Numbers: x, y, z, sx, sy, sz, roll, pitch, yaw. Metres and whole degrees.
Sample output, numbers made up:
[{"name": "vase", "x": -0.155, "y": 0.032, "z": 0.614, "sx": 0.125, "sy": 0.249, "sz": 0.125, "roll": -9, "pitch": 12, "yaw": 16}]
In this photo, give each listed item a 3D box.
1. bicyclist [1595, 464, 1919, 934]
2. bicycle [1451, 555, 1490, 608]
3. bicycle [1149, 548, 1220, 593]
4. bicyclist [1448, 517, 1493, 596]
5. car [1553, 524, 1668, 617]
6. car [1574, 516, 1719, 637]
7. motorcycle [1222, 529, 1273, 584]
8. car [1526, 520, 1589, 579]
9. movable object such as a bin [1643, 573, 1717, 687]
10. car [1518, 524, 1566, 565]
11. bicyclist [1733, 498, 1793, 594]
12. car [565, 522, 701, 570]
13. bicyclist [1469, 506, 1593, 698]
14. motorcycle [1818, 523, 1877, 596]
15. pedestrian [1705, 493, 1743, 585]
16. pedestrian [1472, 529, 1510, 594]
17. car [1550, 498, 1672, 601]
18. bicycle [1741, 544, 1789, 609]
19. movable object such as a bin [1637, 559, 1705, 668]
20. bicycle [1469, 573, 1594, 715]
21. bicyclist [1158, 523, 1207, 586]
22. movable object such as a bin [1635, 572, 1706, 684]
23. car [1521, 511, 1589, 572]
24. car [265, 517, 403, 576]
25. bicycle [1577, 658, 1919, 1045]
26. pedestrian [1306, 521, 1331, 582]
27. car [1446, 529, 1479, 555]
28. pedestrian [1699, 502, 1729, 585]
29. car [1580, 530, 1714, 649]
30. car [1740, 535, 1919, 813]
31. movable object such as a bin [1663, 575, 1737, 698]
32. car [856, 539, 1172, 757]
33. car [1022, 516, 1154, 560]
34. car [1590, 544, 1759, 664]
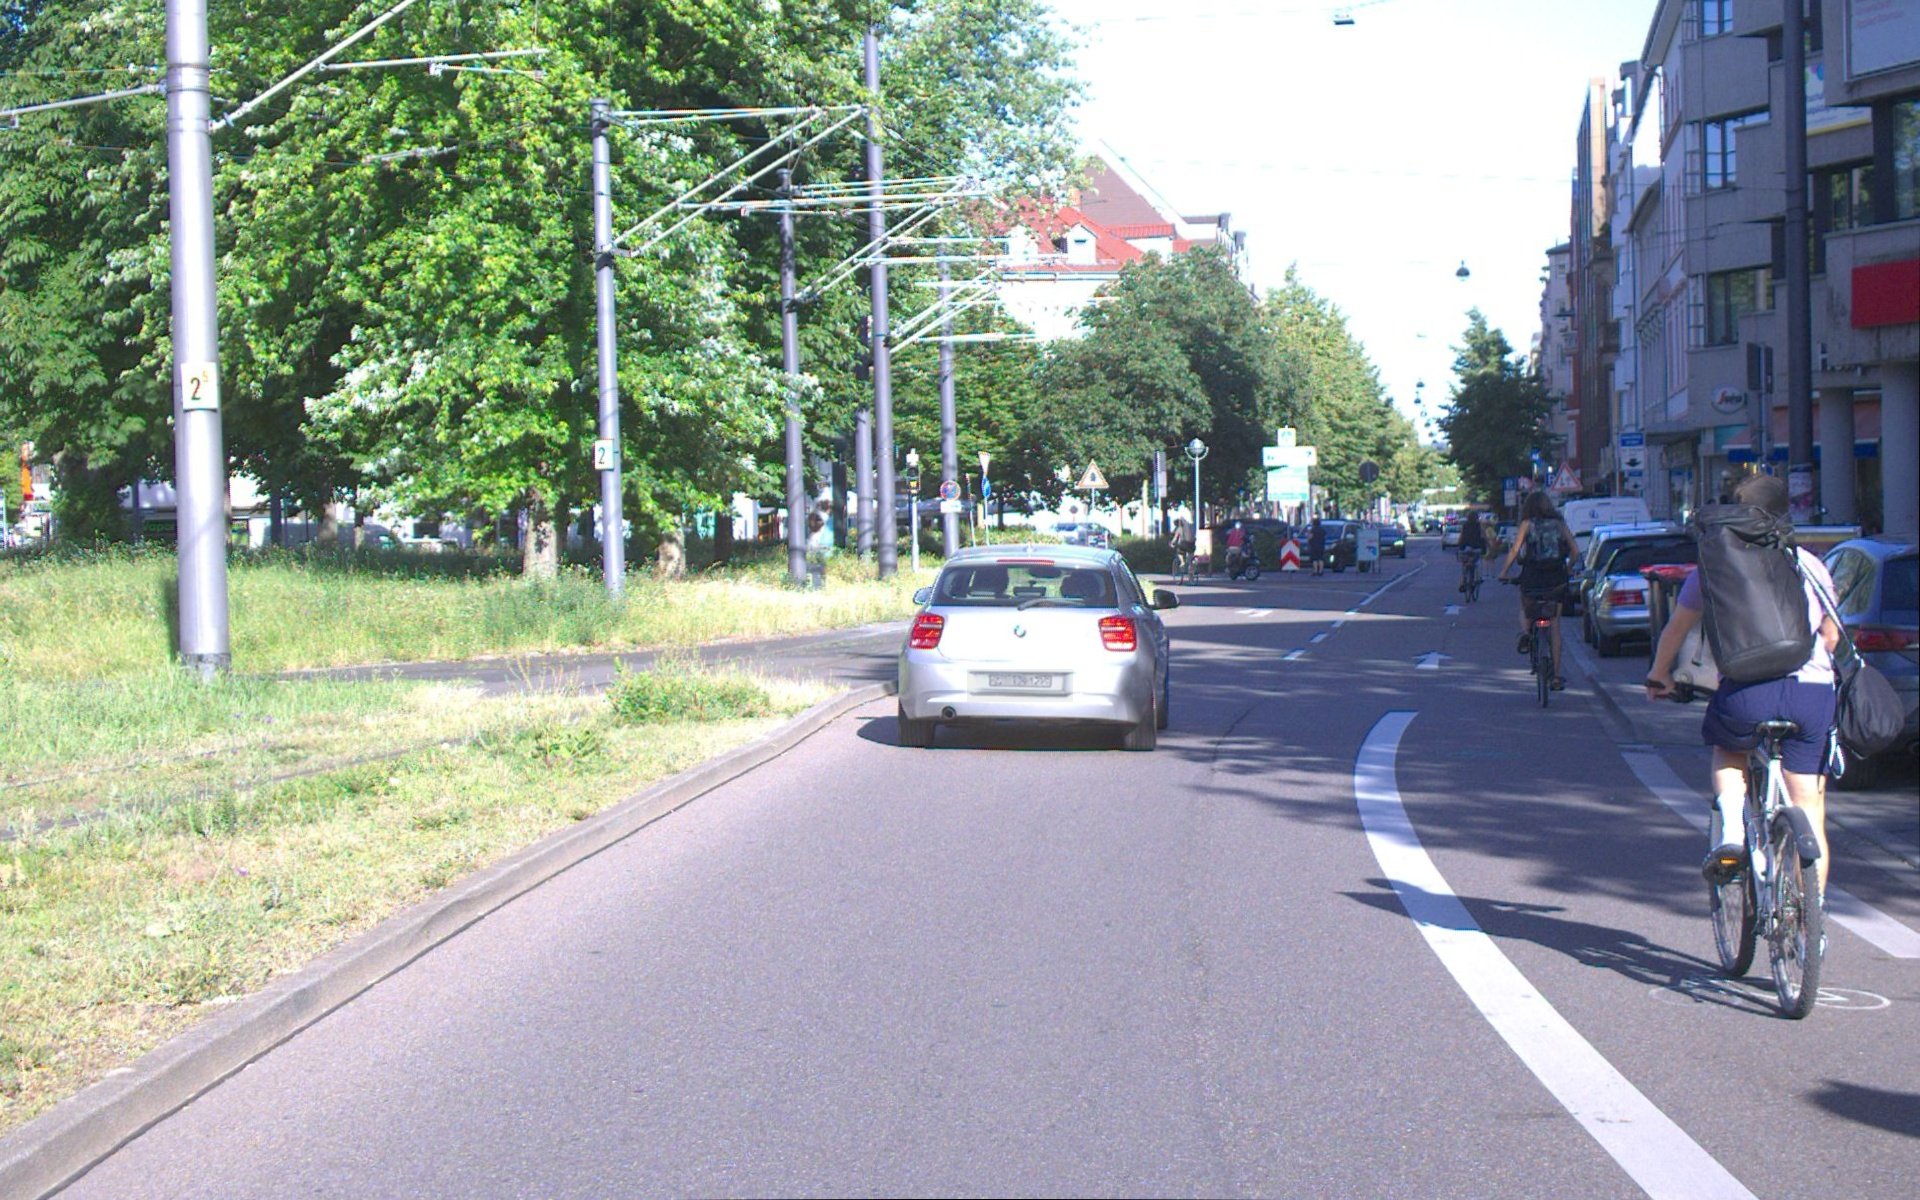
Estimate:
[{"name": "bicyclist", "x": 2.712, "y": 0.311, "z": 11.364, "sx": 1.038, "sy": 1.479, "sz": 0.988, "roll": 1, "pitch": 0, "yaw": 1}, {"name": "bicycle", "x": 9.468, "y": -0.347, "z": 63.784, "sx": 0.652, "sy": 0.955, "sz": 2.697, "roll": 1, "pitch": 0, "yaw": 7}, {"name": "bicycle", "x": 5.447, "y": -0.704, "z": 83.568, "sx": 0.809, "sy": 1.065, "sz": 2.584, "roll": 1, "pitch": 0, "yaw": -18}, {"name": "bicyclist", "x": 9.482, "y": -0.795, "z": 63.847, "sx": 0.786, "sy": 1.448, "sz": 1.095, "roll": 1, "pitch": 0, "yaw": 7}, {"name": "car", "x": 10.682, "y": -0.467, "z": 56.472, "sx": 1.775, "sy": 1.449, "sz": 4.728, "roll": 1, "pitch": 0, "yaw": 11}, {"name": "car", "x": 9.959, "y": -0.335, "z": 50.071, "sx": 1.852, "sy": 1.683, "sz": 3.866, "roll": 1, "pitch": 0, "yaw": 8}, {"name": "motorcycle", "x": 7.321, "y": -1.097, "z": 87.660, "sx": 0.745, "sy": 1.369, "sz": 1.761, "roll": 1, "pitch": 0, "yaw": -15}, {"name": "car", "x": 18.363, "y": -1.542, "z": 105.766, "sx": 1.746, "sy": 1.733, "sz": 4.958, "roll": 1, "pitch": 0, "yaw": 8}, {"name": "movable object such as a bin", "x": 6.816, "y": 0.282, "z": 32.577, "sx": 0.606, "sy": 1.065, "sz": 0.613, "roll": 1, "pitch": 0, "yaw": 5}, {"name": "car", "x": 24.777, "y": -2.337, "z": 146.381, "sx": 1.899, "sy": 1.669, "sz": 4.823, "roll": 1, "pitch": 0, "yaw": 8}, {"name": "bicyclist", "x": 11.233, "y": -0.753, "z": 48.093, "sx": 0.758, "sy": 1.322, "sz": 0.994, "roll": 1, "pitch": 0, "yaw": 10}, {"name": "car", "x": -14.048, "y": -2.310, "z": 147.653, "sx": 5.574, "sy": 2.007, "sz": 1.818, "roll": 0, "pitch": 0, "yaw": -18}, {"name": "bicyclist", "x": 4.934, "y": 0.017, "z": 29.762, "sx": 0.939, "sy": 1.628, "sz": 0.935, "roll": 1, "pitch": 0, "yaw": 2}, {"name": "motorcycle", "x": 14.843, "y": -0.666, "z": 57.458, "sx": 0.764, "sy": 1.151, "sz": 2.045, "roll": -3, "pitch": -1, "yaw": 18}, {"name": "pedestrian", "x": 15.713, "y": -1.240, "z": 70.698, "sx": 0.671, "sy": 1.850, "sz": 0.610, "roll": -3, "pitch": -1, "yaw": 12}, {"name": "pedestrian", "x": 14.104, "y": -1.021, "z": 91.292, "sx": 0.667, "sy": 1.693, "sz": 0.805, "roll": 0, "pitch": 0, "yaw": -23}, {"name": "car", "x": 11.861, "y": -0.905, "z": 62.878, "sx": 1.994, "sy": 1.806, "sz": 4.308, "roll": 1, "pitch": 0, "yaw": 8}, {"name": "bicycle", "x": 11.241, "y": -0.323, "z": 48.032, "sx": 0.534, "sy": 0.888, "sz": 2.069, "roll": 1, "pitch": 0, "yaw": 10}, {"name": "movable object such as a bin", "x": 7.110, "y": 0.134, "z": 34.396, "sx": 0.592, "sy": 1.080, "sz": 0.604, "roll": 1, "pitch": 0, "yaw": 6}, {"name": "bicycle", "x": 4.929, "y": 0.365, "z": 29.758, "sx": 0.819, "sy": 1.181, "sz": 1.964, "roll": 1, "pitch": 0, "yaw": 3}, {"name": "bicyclist", "x": 5.421, "y": -1.105, "z": 83.732, "sx": 0.928, "sy": 1.502, "sz": 0.826, "roll": 1, "pitch": 0, "yaw": -18}, {"name": "movable object such as a bin", "x": 6.861, "y": 0.264, "z": 33.208, "sx": 0.605, "sy": 1.065, "sz": 0.545, "roll": 1, "pitch": 0, "yaw": 5}, {"name": "car", "x": 20.035, "y": -1.974, "z": 115.898, "sx": 1.994, "sy": 1.998, "sz": 5.116, "roll": -1, "pitch": 1, "yaw": 7}, {"name": "car", "x": -25.320, "y": -2.152, "z": 139.080, "sx": 5.334, "sy": 2.306, "sz": 2.001, "roll": 0, "pitch": 0, "yaw": -14}, {"name": "bicycle", "x": 2.723, "y": 0.786, "z": 11.614, "sx": 0.885, "sy": 1.132, "sz": 2.229, "roll": 1, "pitch": 0, "yaw": 1}, {"name": "pedestrian", "x": 9.846, "y": -1.339, "z": 94.508, "sx": 0.636, "sy": 1.666, "sz": 0.692, "roll": 0, "pitch": 0, "yaw": 9}, {"name": "car", "x": 30.578, "y": -3.529, "z": 209.135, "sx": 1.871, "sy": 1.550, "sz": 3.998, "roll": 1, "pitch": 0, "yaw": 9}, {"name": "pedestrian", "x": 15.676, "y": -1.173, "z": 71.511, "sx": 0.584, "sy": 1.708, "sz": 0.697, "roll": 1, "pitch": 0, "yaw": 12}, {"name": "car", "x": 9.210, "y": -0.137, "z": 46.160, "sx": 1.672, "sy": 1.513, "sz": 4.197, "roll": 1, "pitch": 0, "yaw": 11}, {"name": "car", "x": 5.892, "y": 0.351, "z": 20.772, "sx": 1.766, "sy": 1.433, "sz": 4.582, "roll": -2, "pitch": 1, "yaw": 6}, {"name": "movable object such as a bin", "x": 6.617, "y": 0.322, "z": 30.738, "sx": 0.573, "sy": 1.079, "sz": 0.570, "roll": 1, "pitch": 0, "yaw": 5}, {"name": "car", "x": 0.482, "y": 0.308, "z": 24.747, "sx": 1.994, "sy": 1.418, "sz": 4.196, "roll": 1, "pitch": 0, "yaw": 5}, {"name": "car", "x": 5.497, "y": -2.653, "z": 147.862, "sx": 5.262, "sy": 1.794, "sz": 2.164, "roll": 0, "pitch": 0, "yaw": -18}, {"name": "car", "x": 8.482, "y": 0.039, "z": 40.992, "sx": 1.852, "sy": 1.339, "sz": 4.597, "roll": 1, "pitch": 0, "yaw": 11}]
